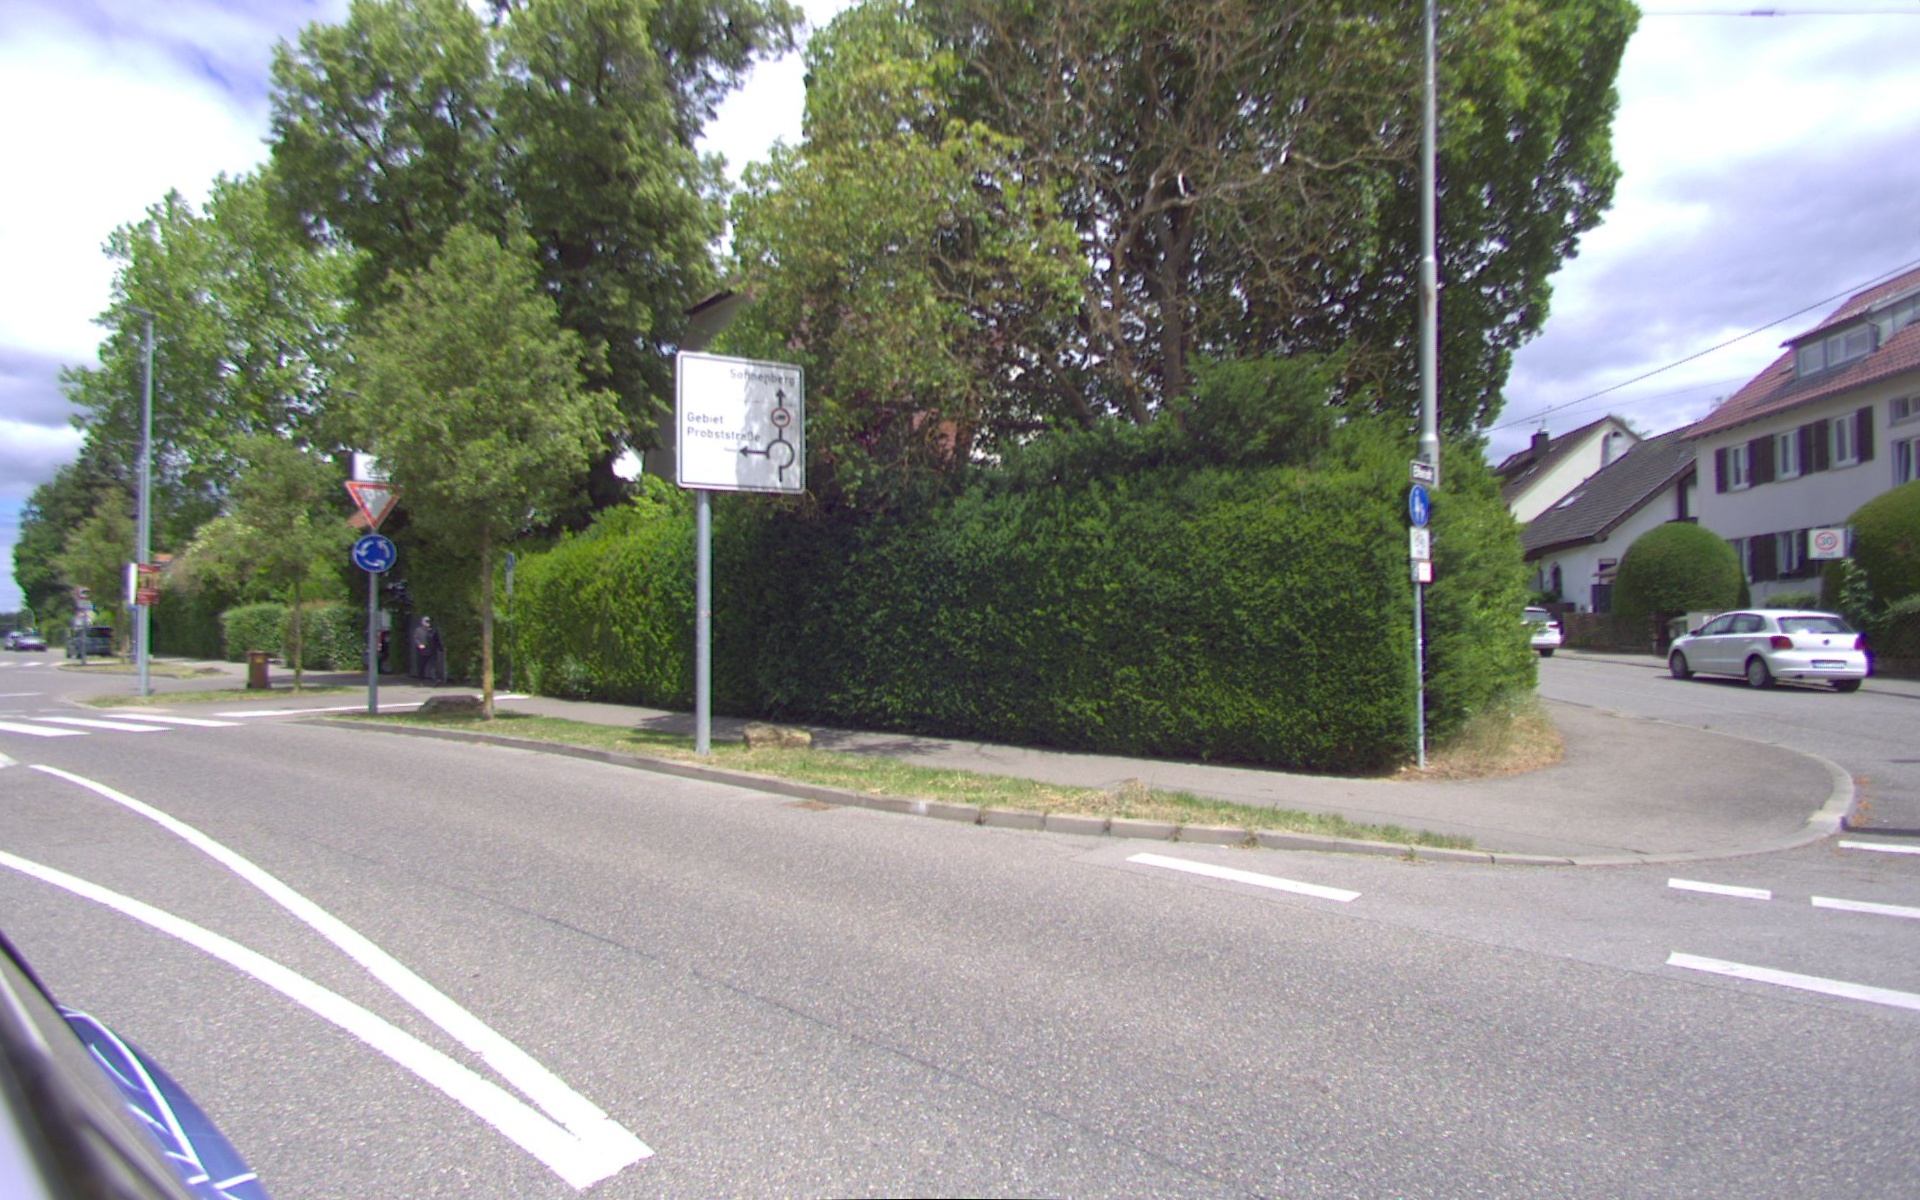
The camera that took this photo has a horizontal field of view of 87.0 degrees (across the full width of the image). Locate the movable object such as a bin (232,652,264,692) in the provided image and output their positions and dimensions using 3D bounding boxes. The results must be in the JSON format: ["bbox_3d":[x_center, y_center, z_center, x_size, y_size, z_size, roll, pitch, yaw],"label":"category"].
[{"bbox_3d":[-17.106,1.723,24.313,0.408,0.942,0.439,0,-3,16],"label":"movable object such as a bin"}]

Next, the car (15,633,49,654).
[{"bbox_3d":[-74.469,3.446,81.186,1.836,1.589,4.003,1,-1,-44],"label":"car"}]

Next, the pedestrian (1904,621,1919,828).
[{"bbox_3d":[7.305,0.909,7.136,0.621,1.520,0.729,0,-1,10],"label":"pedestrian"}]

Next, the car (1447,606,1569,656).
[{"bbox_3d":[16.737,0.915,31.150,1.684,1.416,4.274,0,0,5],"label":"car"}]

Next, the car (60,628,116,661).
[{"bbox_3d":[-46.470,2.330,53.907,3.998,1.674,1.659,-1,-2,41],"label":"car"}]

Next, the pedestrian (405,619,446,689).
[{"bbox_3d":[-13.233,1.315,25.043,0.735,1.704,0.695,1,-1,-44],"label":"pedestrian"}]

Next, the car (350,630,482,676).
[{"bbox_3d":[-18.216,1.796,33.989,3.526,1.408,1.666,6,-5,-45],"label":"car"}]

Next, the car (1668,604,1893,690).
[{"bbox_3d":[15.414,0.822,19.267,1.695,1.466,3.526,0,0,7],"label":"car"}]

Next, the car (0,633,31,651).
[{"bbox_3d":[-96.465,4.276,103.206,3.997,1.719,1.973,-2,-3,40],"label":"car"}]
